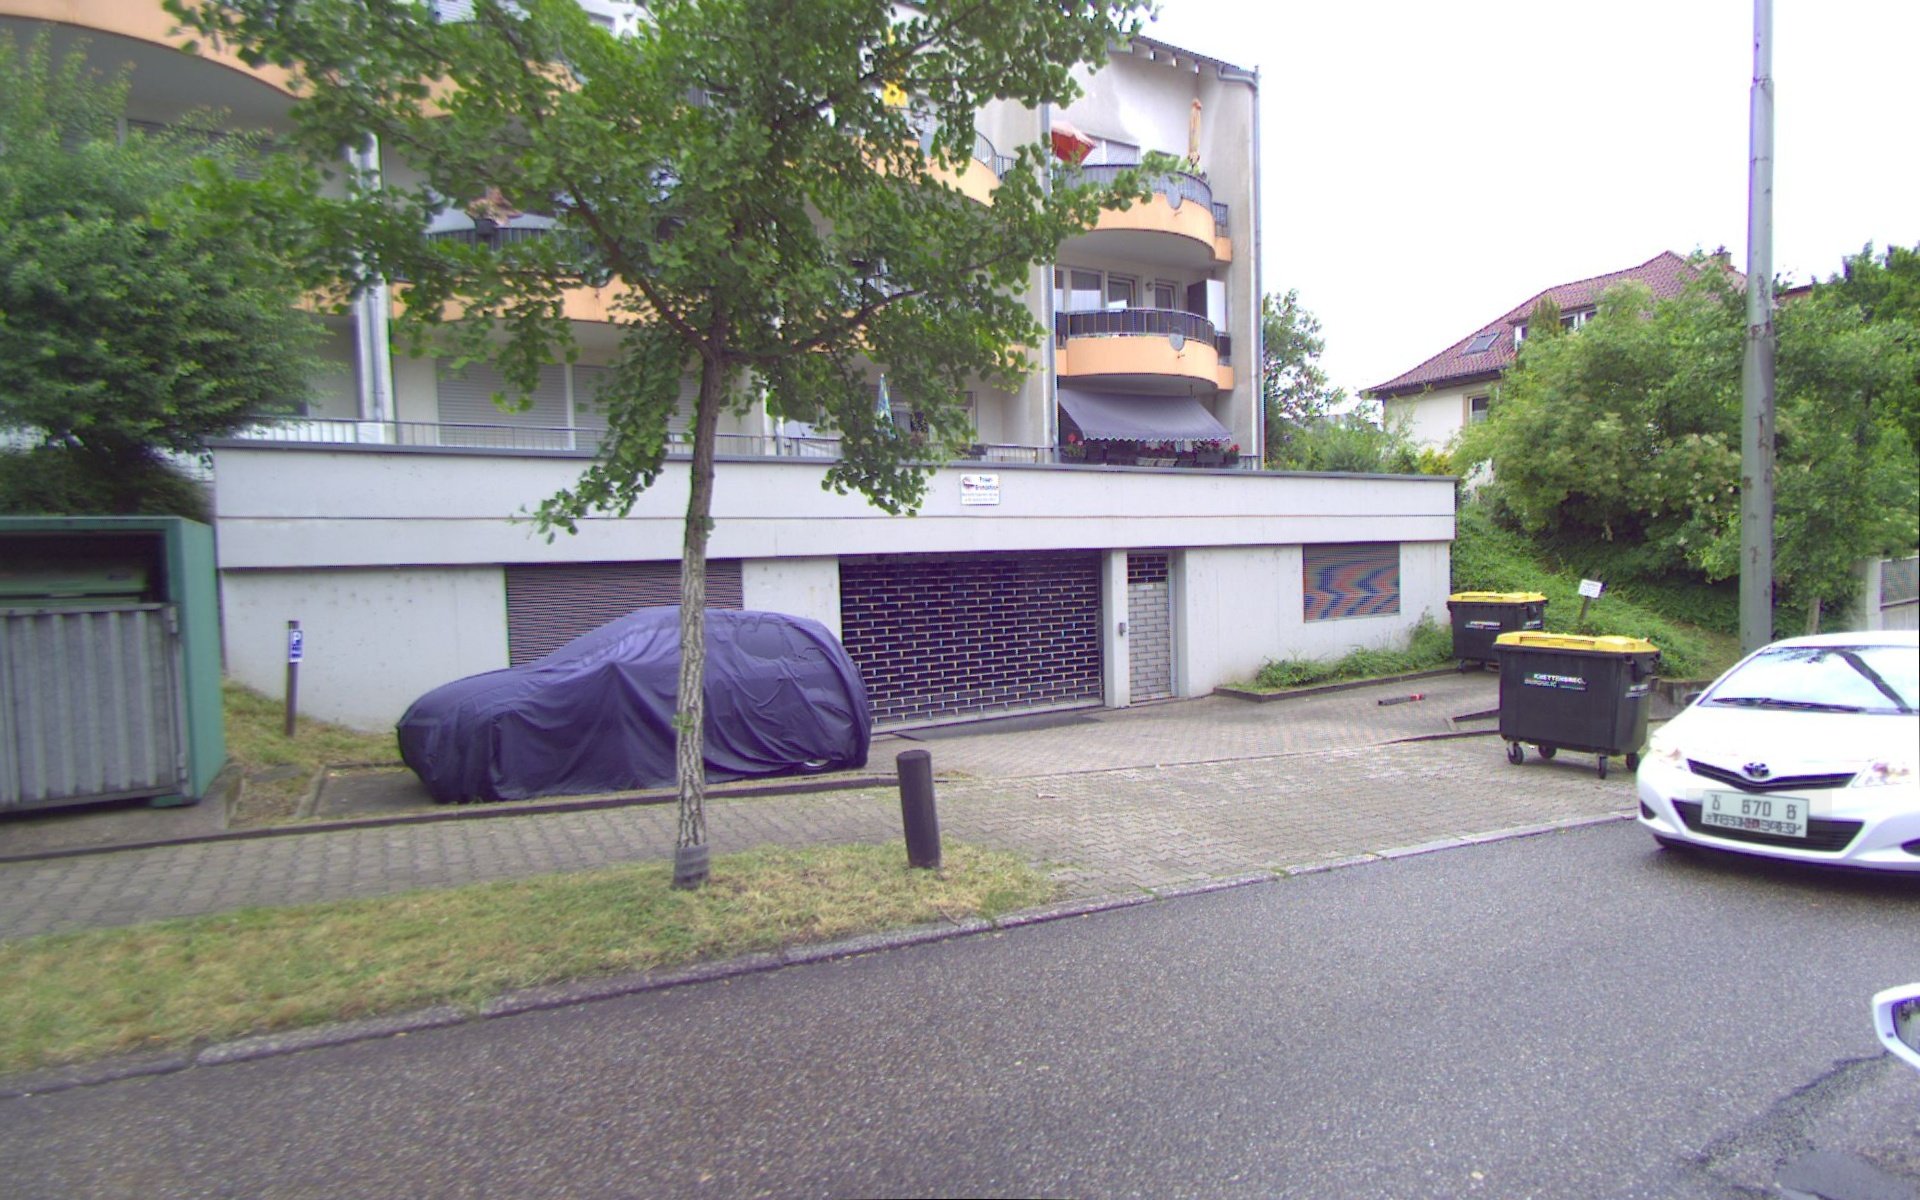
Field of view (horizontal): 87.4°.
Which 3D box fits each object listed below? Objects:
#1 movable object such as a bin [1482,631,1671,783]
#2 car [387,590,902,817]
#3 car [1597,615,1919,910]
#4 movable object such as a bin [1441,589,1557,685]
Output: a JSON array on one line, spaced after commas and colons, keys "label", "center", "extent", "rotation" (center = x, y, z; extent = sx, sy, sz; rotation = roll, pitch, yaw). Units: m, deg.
[{"label": "movable object such as a bin", "center": [6.193, 1.014, 10.117], "extent": [1.145, 1.324, 1.288], "rotation": [0, 1, -38]}, {"label": "car", "center": [-2.710, 0.814, 8.861], "extent": [4.050, 1.581, 1.770], "rotation": [1, -4, -31]}, {"label": "car", "center": [6.314, 0.920, 6.926], "extent": [3.797, 1.551, 1.701], "rotation": [1, -3, -31]}, {"label": "movable object such as a bin", "center": [8.931, 0.572, 16.651], "extent": [1.215, 1.383, 1.288], "rotation": [-7, 5, -36]}]
